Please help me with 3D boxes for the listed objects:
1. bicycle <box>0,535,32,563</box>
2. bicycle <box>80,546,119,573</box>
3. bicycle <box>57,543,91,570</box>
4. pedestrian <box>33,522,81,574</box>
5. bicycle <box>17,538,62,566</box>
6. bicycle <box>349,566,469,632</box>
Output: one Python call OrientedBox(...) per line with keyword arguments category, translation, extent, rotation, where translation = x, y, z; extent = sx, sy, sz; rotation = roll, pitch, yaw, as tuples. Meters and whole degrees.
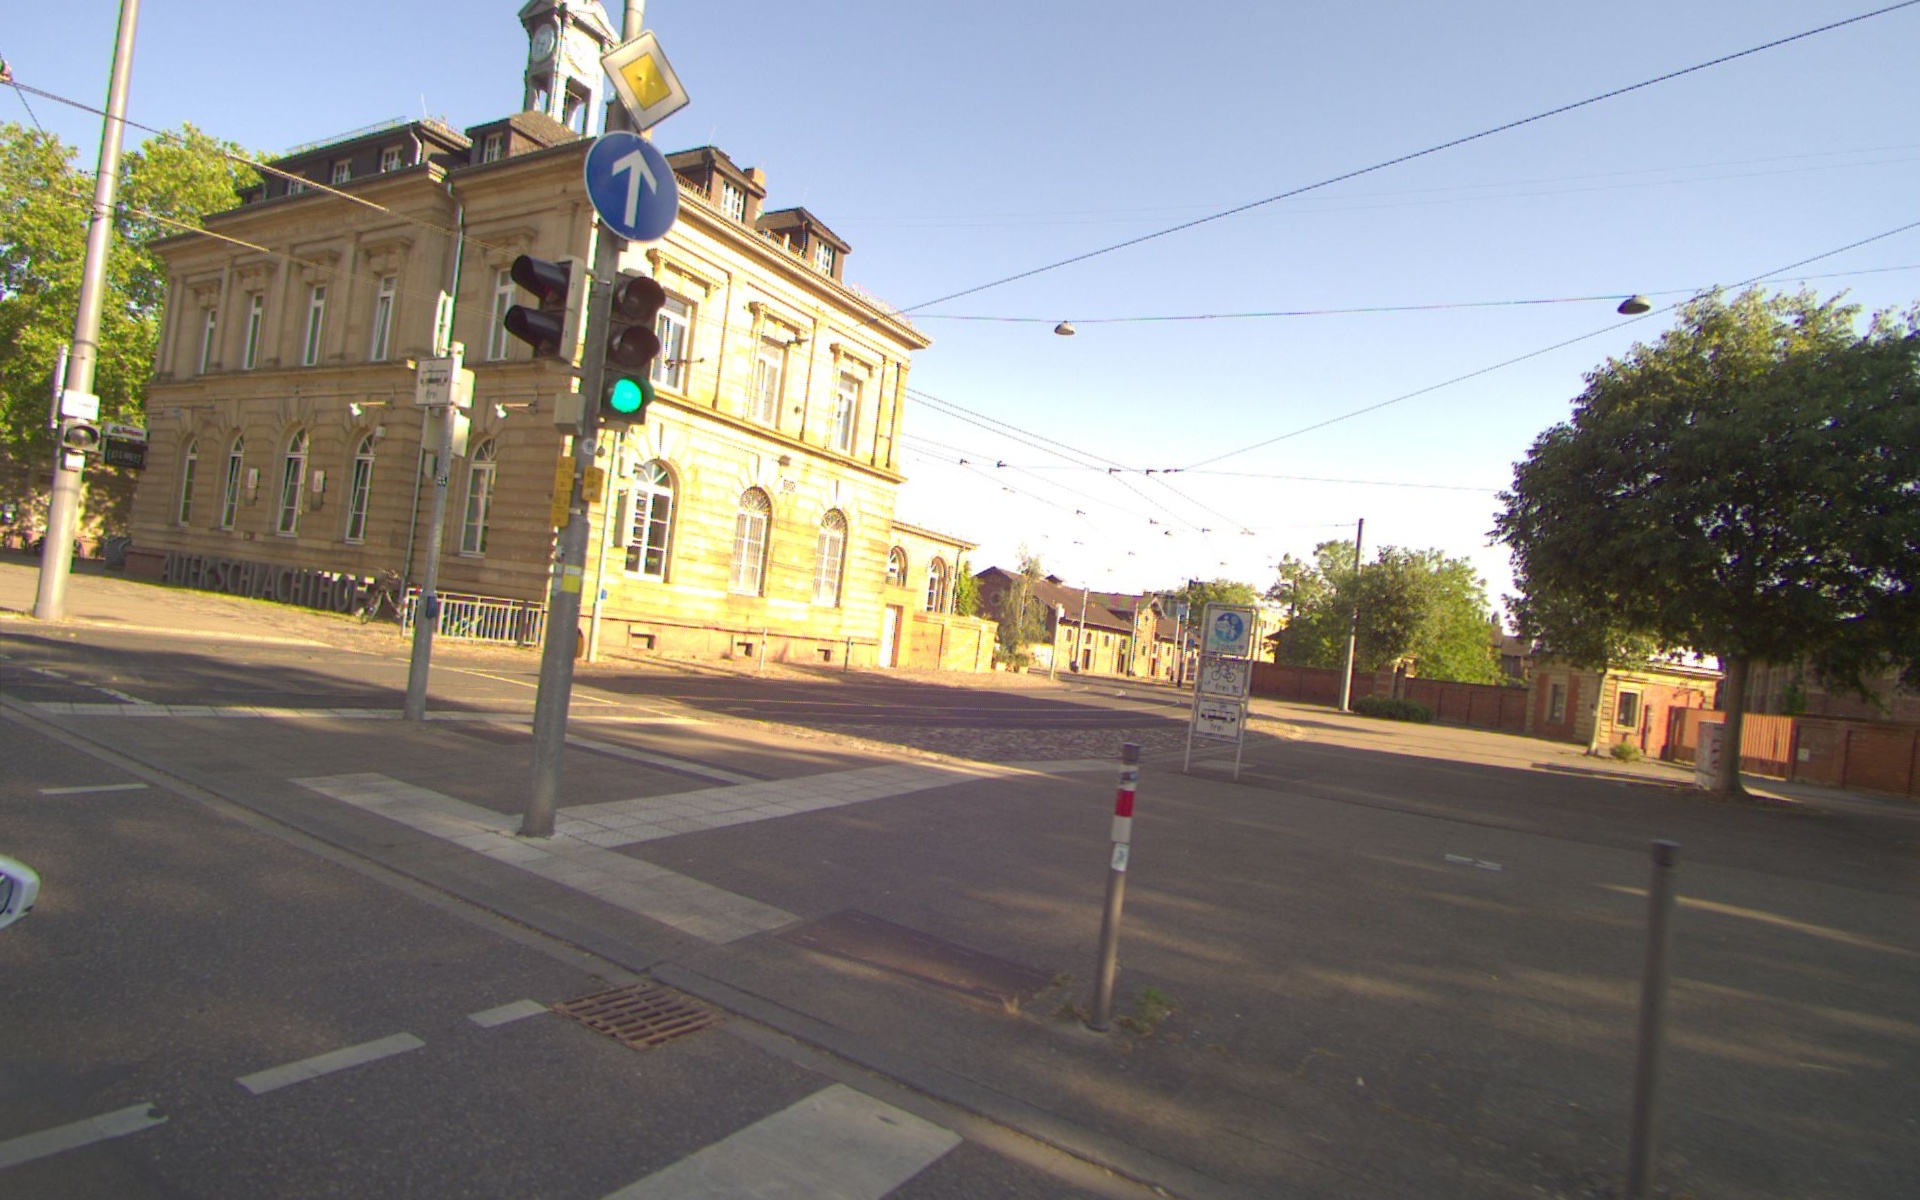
OrientedBox(category="bicycle", translation=(-42.435, -2.320, 44.874), extent=(2.316, 1.059, 0.527), rotation=(6, -1, 23))
OrientedBox(category="bicycle", translation=(-41.270, -1.934, 48.260), extent=(2.191, 1.059, 0.527), rotation=(6, -1, 27))
OrientedBox(category="bicycle", translation=(-41.628, -2.051, 47.242), extent=(2.194, 1.059, 0.526), rotation=(6, -1, 32))
OrientedBox(category="pedestrian", translation=(-35.819, -2.045, 39.898), extent=(0.811, 1.887, 0.983), rotation=(6, -1, 19))
OrientedBox(category="bicycle", translation=(-41.882, -2.188, 45.778), extent=(2.316, 1.059, 0.527), rotation=(6, -1, 23))
OrientedBox(category="bicycle", translation=(-11.965, -0.001, 21.917), extent=(0.752, 1.224, 2.141), rotation=(6, -1, 29))
